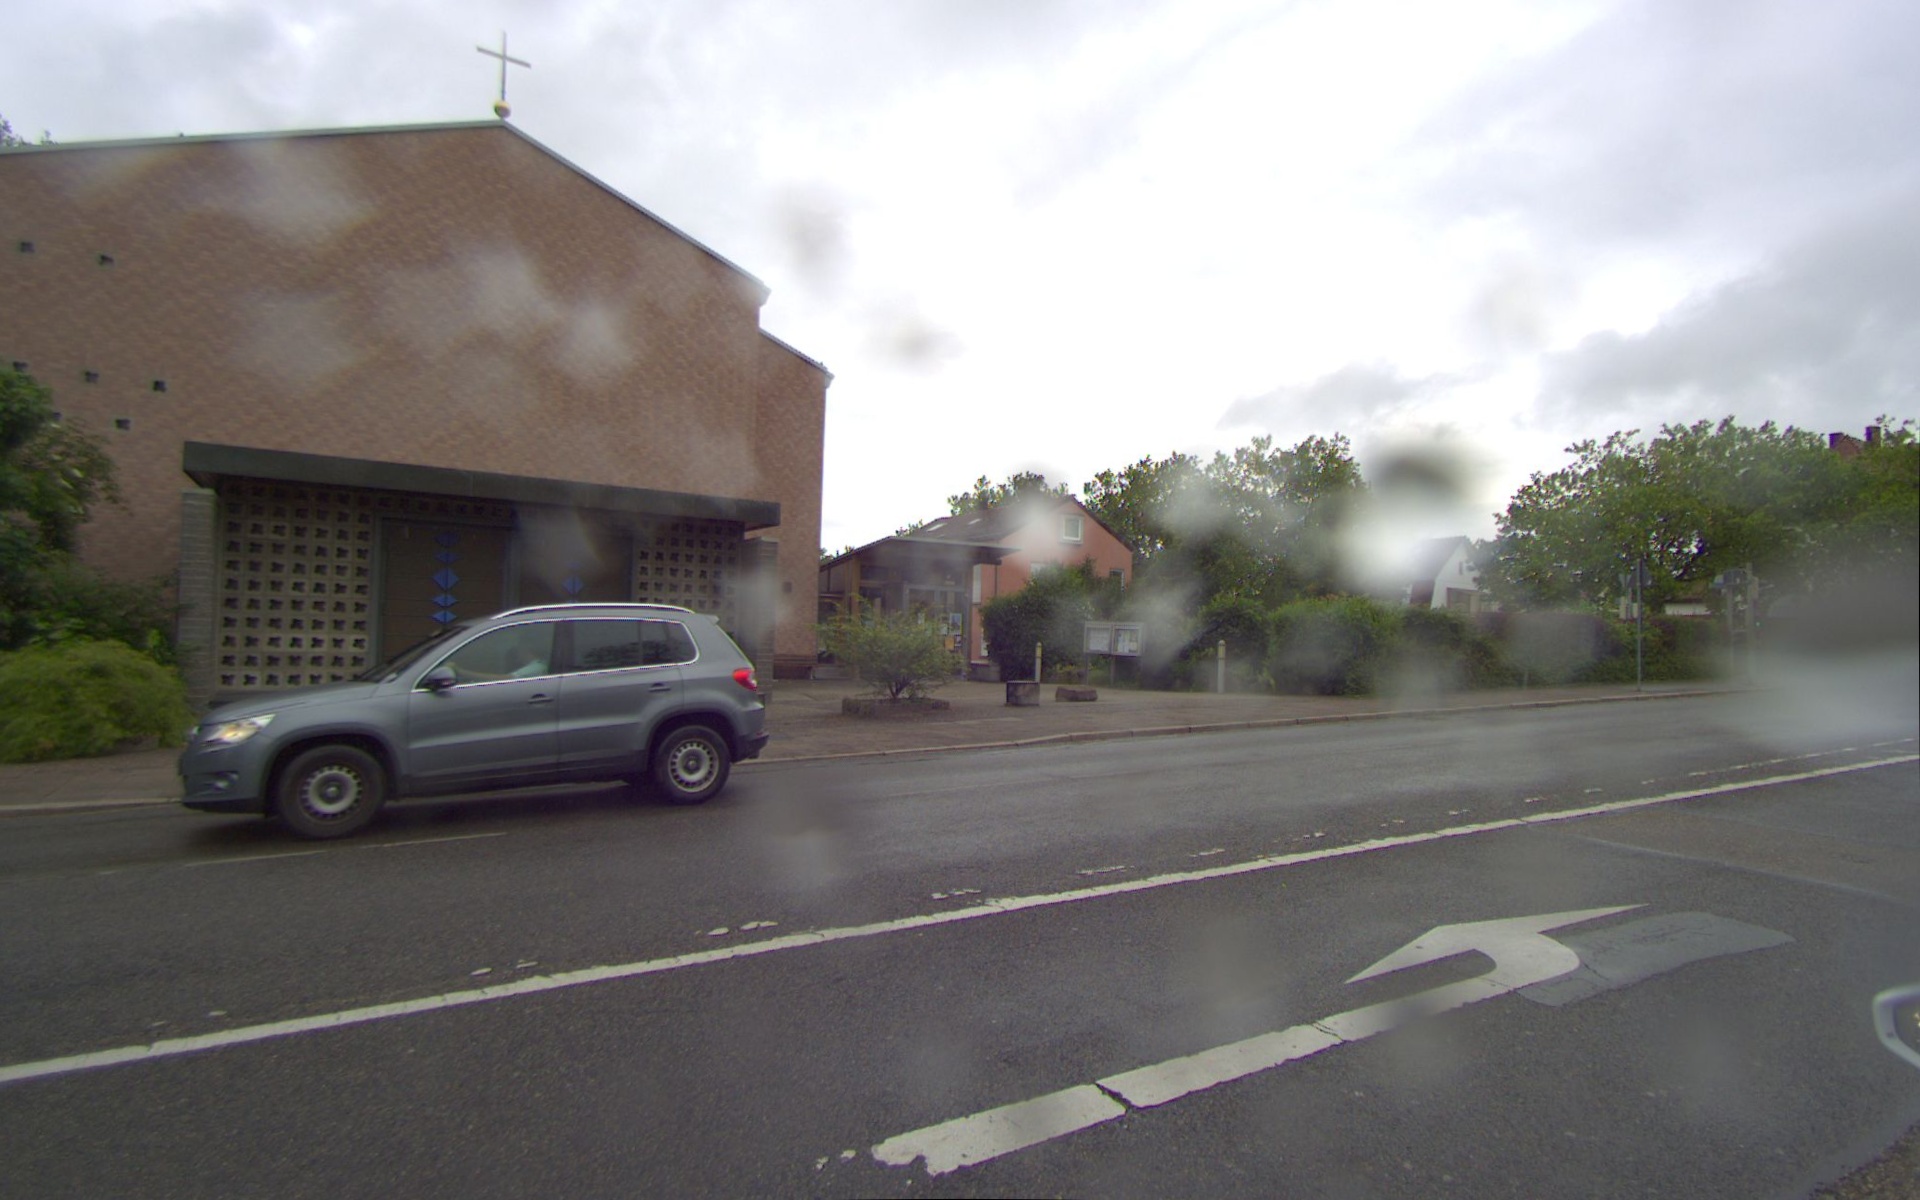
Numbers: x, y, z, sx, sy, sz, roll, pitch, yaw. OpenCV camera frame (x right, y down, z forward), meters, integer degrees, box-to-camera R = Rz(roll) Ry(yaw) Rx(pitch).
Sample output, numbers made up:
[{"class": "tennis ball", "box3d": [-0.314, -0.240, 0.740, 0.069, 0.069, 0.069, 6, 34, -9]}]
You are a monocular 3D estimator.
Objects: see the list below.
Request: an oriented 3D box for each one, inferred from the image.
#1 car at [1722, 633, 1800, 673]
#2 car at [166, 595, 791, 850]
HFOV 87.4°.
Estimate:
[{"class": "car", "box3d": [39.083, 2.540, 49.007, 3.955, 1.573, 1.798, -3, 2, -32]}, {"class": "car", "box3d": [-3.759, 0.852, 8.369, 4.271, 1.611, 1.897, 1, -3, -33]}]
